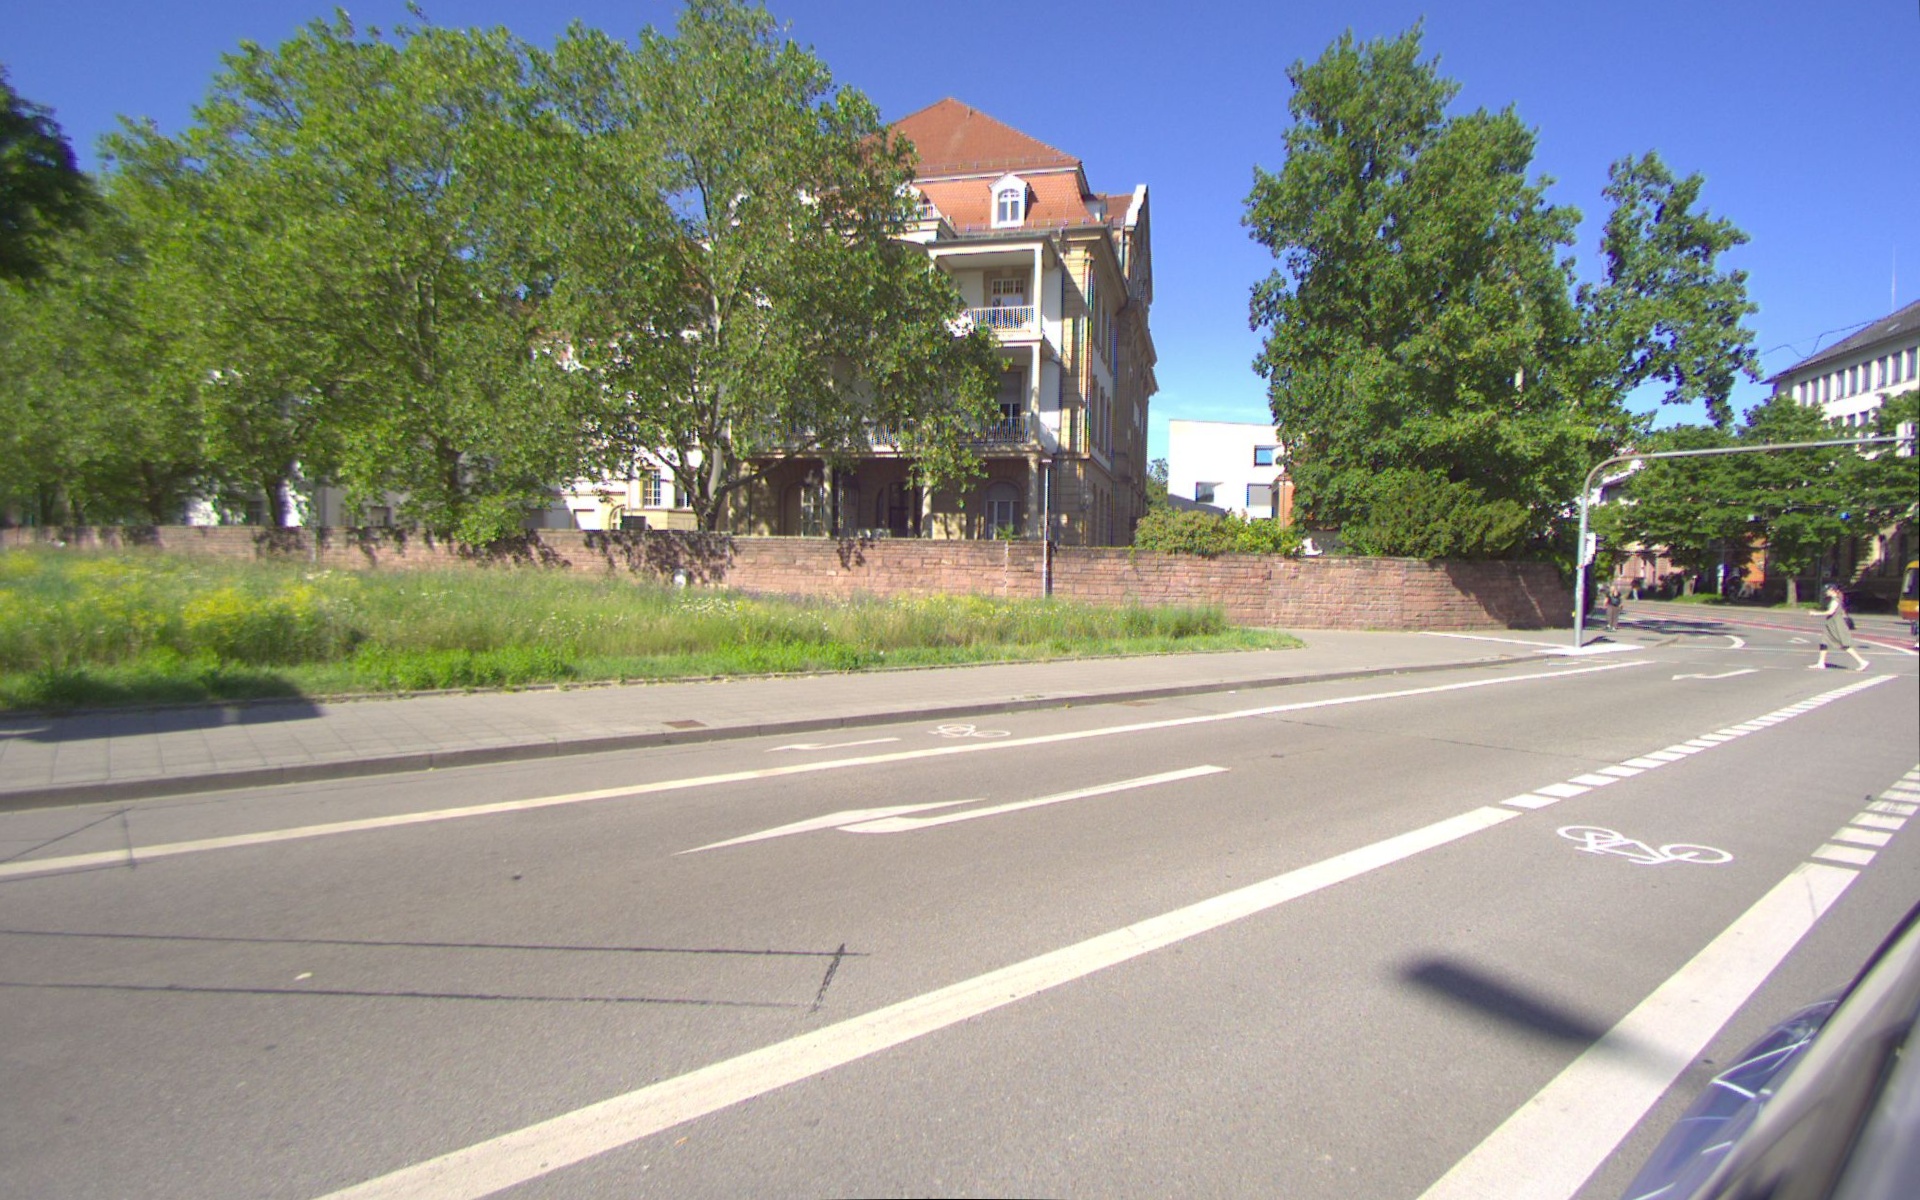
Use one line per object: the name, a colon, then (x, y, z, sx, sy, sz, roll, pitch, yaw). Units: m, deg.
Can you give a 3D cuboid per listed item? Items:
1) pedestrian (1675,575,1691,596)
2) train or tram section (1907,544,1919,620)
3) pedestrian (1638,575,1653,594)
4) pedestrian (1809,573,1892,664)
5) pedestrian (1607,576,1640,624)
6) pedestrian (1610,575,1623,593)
pedestrian: (67.170, -1.352, 93.988, 0.743, 1.836, 0.980, 4, -3, -34)
train or tram section: (46.027, -0.672, 42.791, 2.760, 3.645, 12.489, 2, 2, 13)
pedestrian: (65.582, -1.509, 96.857, 0.745, 1.835, 0.978, 1, 1, 9)
pedestrian: (19.063, 0.365, 21.696, 1.223, 1.878, 0.816, 2, 2, 38)
pedestrian: (25.035, -0.008, 38.192, 0.935, 1.742, 0.983, 2, 2, 37)
pedestrian: (69.412, -1.671, 106.967, 0.745, 1.835, 0.978, 1, 1, 10)
